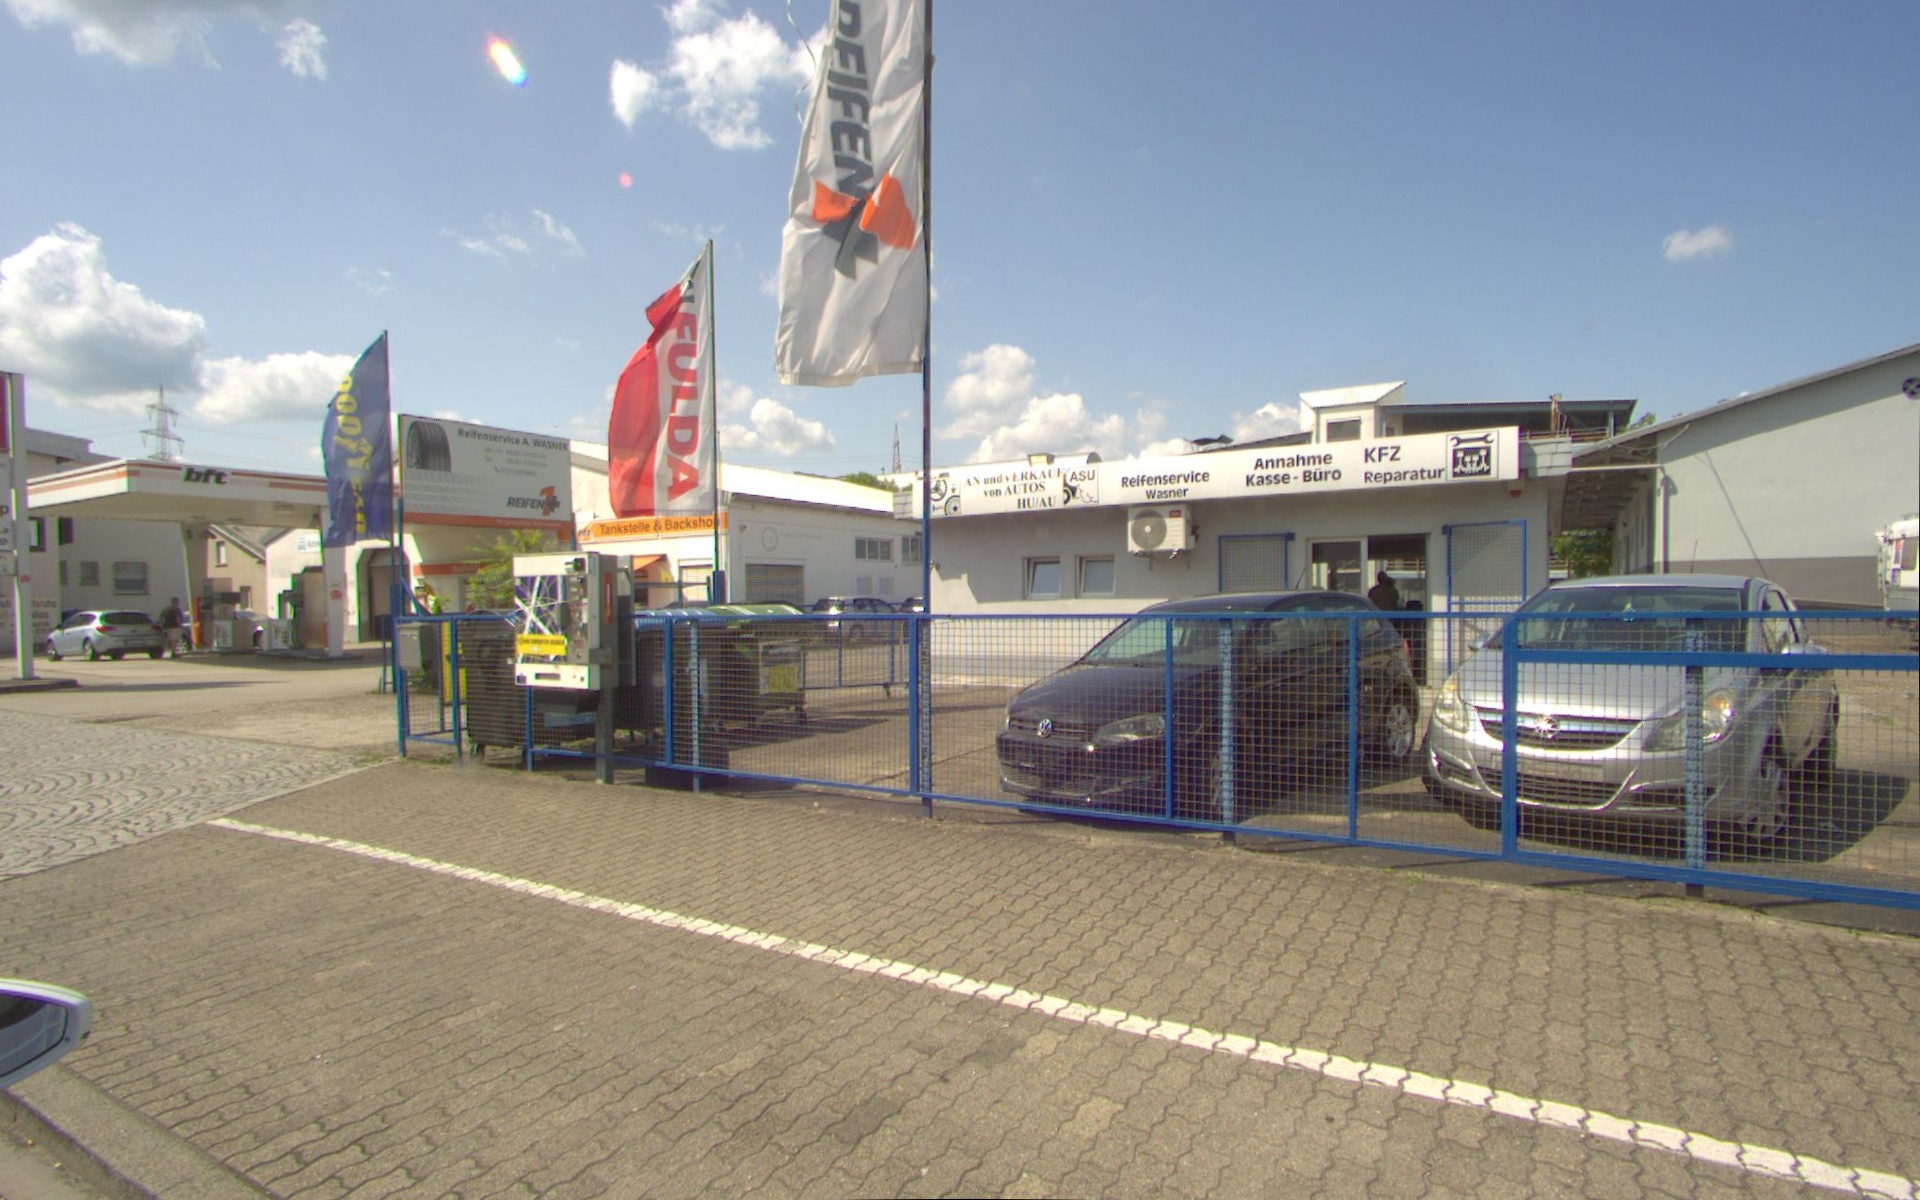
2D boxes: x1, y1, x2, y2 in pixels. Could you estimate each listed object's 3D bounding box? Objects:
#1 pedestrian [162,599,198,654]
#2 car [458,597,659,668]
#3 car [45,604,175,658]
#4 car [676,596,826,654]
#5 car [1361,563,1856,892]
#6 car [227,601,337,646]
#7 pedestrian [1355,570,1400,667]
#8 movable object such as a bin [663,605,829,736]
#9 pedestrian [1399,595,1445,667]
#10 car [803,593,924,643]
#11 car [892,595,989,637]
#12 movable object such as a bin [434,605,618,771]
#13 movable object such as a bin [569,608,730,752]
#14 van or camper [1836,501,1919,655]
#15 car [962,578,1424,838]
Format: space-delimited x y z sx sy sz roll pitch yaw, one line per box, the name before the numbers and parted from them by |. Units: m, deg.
pedestrian | -23.770 0.799 30.516 0.698 1.679 0.546 -1 1 -22
car | -9.158 0.687 23.166 1.564 1.482 4.187 0 0 33
car | -25.730 0.899 30.306 3.776 1.523 1.803 0 0 30
car | -5.711 0.640 27.822 1.564 1.482 4.187 0 0 33
car | 4.282 0.561 6.385 3.729 1.472 1.757 -1 0 -42
car | -24.196 0.815 35.734 3.777 1.523 1.803 0 0 31
pedestrian | 7.360 0.318 17.651 0.654 1.671 0.563 0 1 34
movable object such as a bin | -2.524 0.782 11.906 1.318 1.415 1.400 0 1 31
pedestrian | 8.055 0.532 17.444 0.654 1.225 0.563 0 1 34
car | -3.009 0.524 32.054 1.564 1.482 4.187 0 0 33
car | -0.634 0.531 35.740 1.564 1.385 3.860 0 0 33
movable object such as a bin | -4.150 0.786 9.611 1.225 1.455 1.106 0 1 31
movable object such as a bin | -3.317 0.802 10.741 1.225 1.415 1.106 0 1 31
van or camper | 21.023 -0.455 19.537 5.571 3.005 2.264 0 1 31
car | 1.896 0.602 7.502 3.655 1.472 1.625 -1 0 -43
